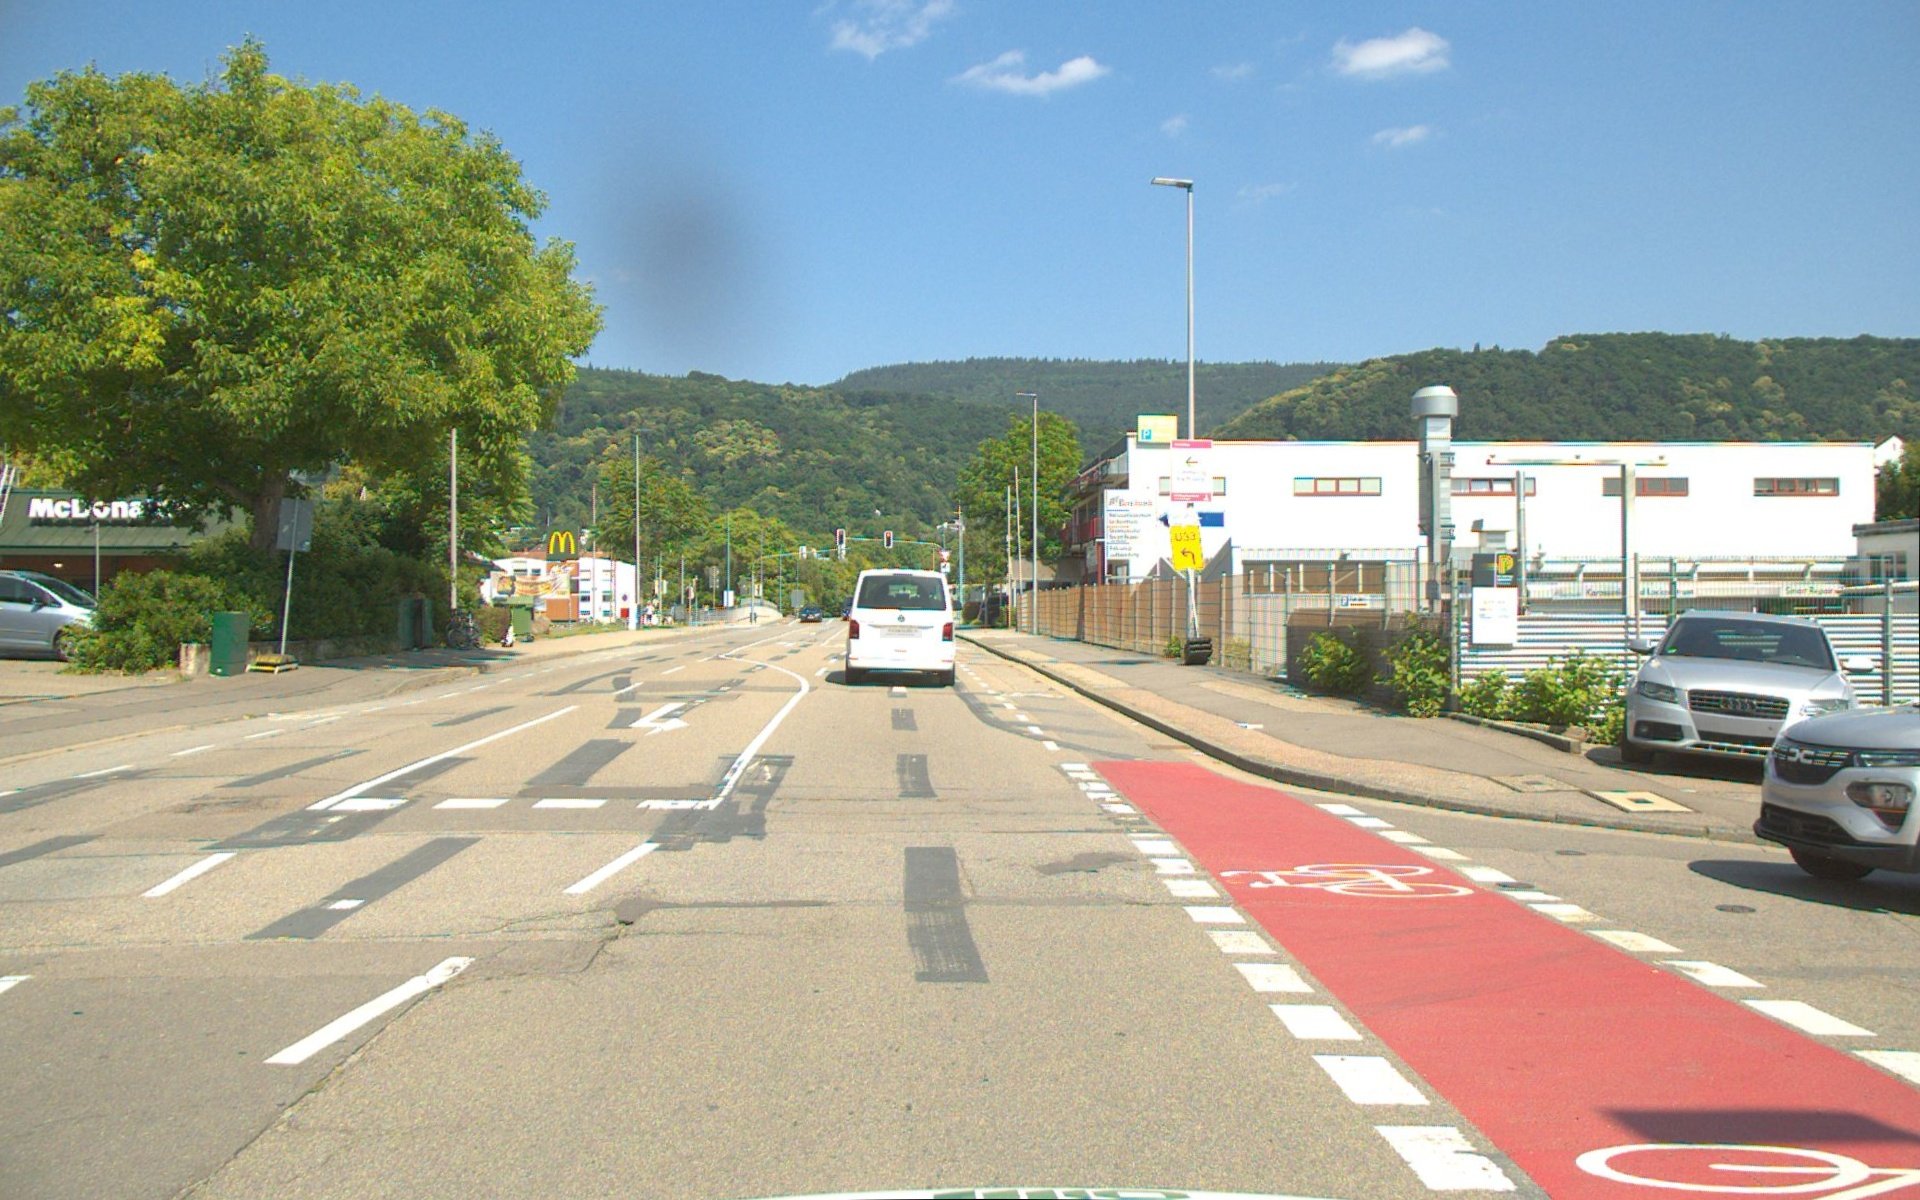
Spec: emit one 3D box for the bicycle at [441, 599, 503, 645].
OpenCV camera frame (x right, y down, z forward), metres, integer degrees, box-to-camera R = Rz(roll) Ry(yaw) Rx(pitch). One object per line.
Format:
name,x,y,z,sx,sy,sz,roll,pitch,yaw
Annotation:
bicycle,-12.808,0.555,43.492,1.007,1.137,2.762,2,0,-6

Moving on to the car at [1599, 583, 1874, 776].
car,7.155,0.700,15.226,1.914,1.382,4.492,4,-1,26

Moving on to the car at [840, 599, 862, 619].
car,-9.453,0.772,144.296,1.812,1.616,3.998,-1,0,-3

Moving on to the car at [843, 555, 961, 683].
car,-1.107,0.315,29.463,1.896,2.095,4.540,0,0,-4

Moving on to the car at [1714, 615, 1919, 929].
car,6.293,0.868,9.013,3.591,1.510,1.727,1,0,-2

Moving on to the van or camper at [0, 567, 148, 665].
van or camper,-17.192,0.270,30.739,3.323,1.694,1.633,2,0,-1

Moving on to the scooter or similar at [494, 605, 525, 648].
scooter or similar,-12.835,0.748,47.160,0.635,1.147,1.619,3,0,-9

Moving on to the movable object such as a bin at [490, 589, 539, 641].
movable object such as a bin,-14.236,0.484,52.889,1.422,1.618,1.303,-1,0,-12

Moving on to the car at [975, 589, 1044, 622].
car,2.860,0.326,94.871,3.903,1.806,2.001,-1,0,3

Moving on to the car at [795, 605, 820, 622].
car,-12.900,1.112,139.838,1.954,1.394,4.323,-1,0,-4
